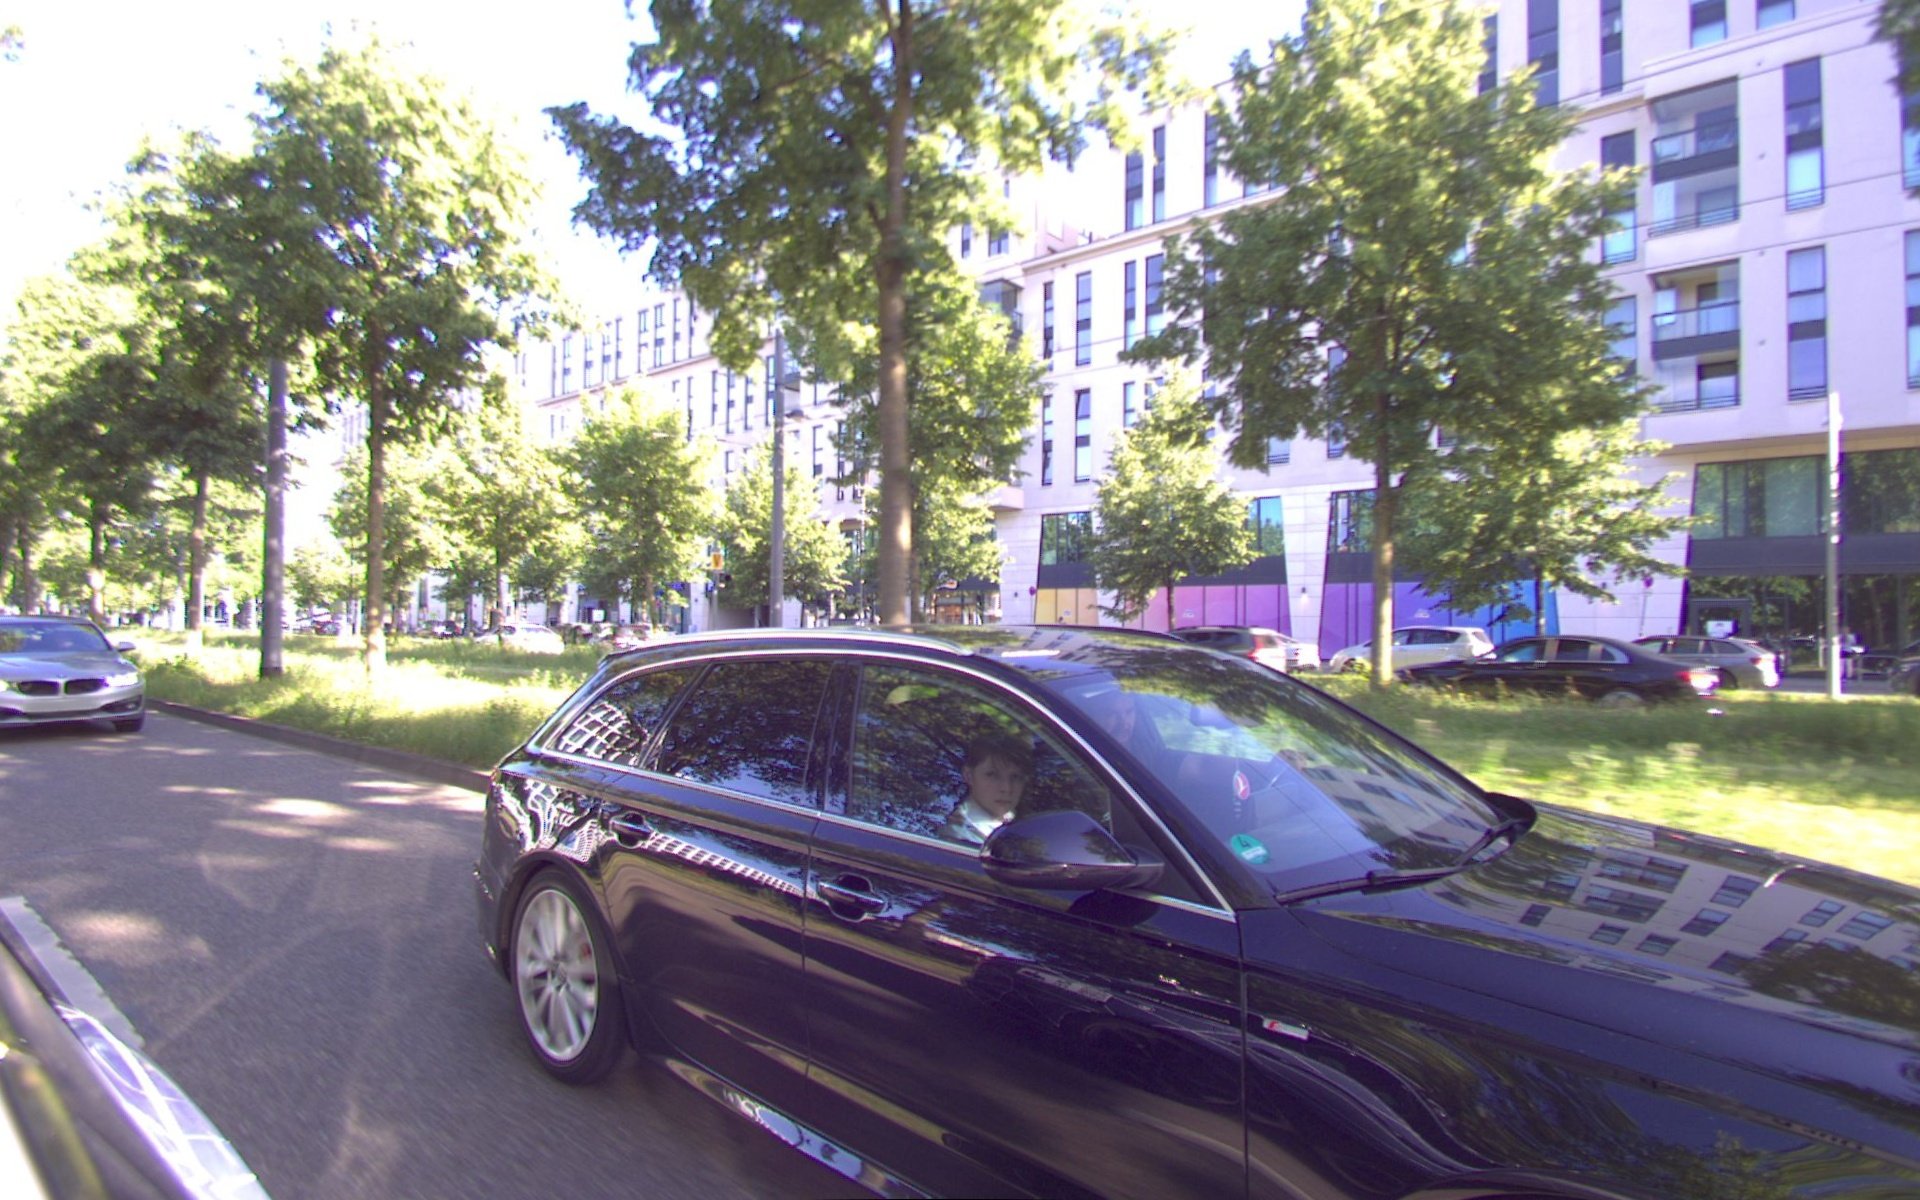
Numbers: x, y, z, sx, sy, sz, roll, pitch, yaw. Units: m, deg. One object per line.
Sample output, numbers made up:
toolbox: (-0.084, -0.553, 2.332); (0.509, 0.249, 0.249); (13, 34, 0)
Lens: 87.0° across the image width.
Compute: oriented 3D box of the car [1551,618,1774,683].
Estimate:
car: (17.518, 1.195, 25.364); (4.450, 1.452, 1.974); (-1, 0, 39)

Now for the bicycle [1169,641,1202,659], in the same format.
bicycle: (9.994, 2.196, 44.915); (1.516, 0.737, 0.274); (-1, 0, 43)

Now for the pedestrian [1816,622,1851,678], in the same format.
pedestrian: (26.480, 1.506, 30.696); (0.718, 1.663, 0.630); (-1, 0, 33)

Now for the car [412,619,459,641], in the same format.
car: (-37.784, 2.148, 72.871); (4.268, 1.491, 1.542); (-1, -1, 40)

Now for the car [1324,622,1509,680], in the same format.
car: (12.979, 1.404, 28.926); (4.453, 1.452, 1.973); (-1, 0, 41)

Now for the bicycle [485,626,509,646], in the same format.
bicycle: (-37.324, 2.885, 81.553); (3.034, 1.557, 0.611); (-1, 0, 43)

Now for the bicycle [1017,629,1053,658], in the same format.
bicycle: (3.465, 2.003, 46.816); (1.606, 1.290, 0.592); (-1, 0, 39)

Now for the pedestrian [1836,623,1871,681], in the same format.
pedestrian: (26.295, 1.507, 29.795); (0.719, 1.663, 0.629); (-1, 0, 38)

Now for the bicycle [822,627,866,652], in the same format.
bicycle: (-6.332, 2.127, 55.037); (0.935, 1.290, 2.775); (0, 0, -42)

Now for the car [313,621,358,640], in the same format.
car: (-53.225, 2.588, 86.273); (3.994, 1.584, 1.975); (-1, -2, 38)

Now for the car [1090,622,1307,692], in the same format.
car: (5.633, 1.283, 24.276); (4.699, 1.452, 1.973); (-1, 0, 40)

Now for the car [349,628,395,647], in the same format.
car: (-47.192, 3.005, 81.223); (4.331, 1.424, 1.707); (-1, -2, 38)

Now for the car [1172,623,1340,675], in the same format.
car: (9.361, 1.502, 32.201); (4.773, 1.452, 1.974); (-1, 0, 39)

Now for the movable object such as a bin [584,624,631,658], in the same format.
movable object such as a bin: (-19.863, 2.291, 57.058); (1.554, 1.808, 1.951); (-1, 0, 39)

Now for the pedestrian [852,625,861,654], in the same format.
pedestrian: (-5.744, 2.173, 56.108); (0.494, 1.561, 0.522); (0, 0, -7)

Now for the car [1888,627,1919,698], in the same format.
car: (22.708, 1.341, 20.985); (4.931, 1.452, 1.974); (-1, 0, 39)

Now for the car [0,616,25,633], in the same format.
car: (-133.265, 3.422, 141.646); (6.017, 2.399, 2.483); (-1, -2, 36)

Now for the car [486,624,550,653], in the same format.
car: (-28.508, 2.435, 65.203); (4.333, 1.742, 1.974); (-1, 0, 39)

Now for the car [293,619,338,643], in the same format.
car: (-57.142, 2.753, 89.662); (4.548, 2.029, 1.974); (-1, -2, 38)

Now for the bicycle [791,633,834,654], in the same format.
bicycle: (-8.261, 2.427, 56.698); (2.368, 1.145, 0.860); (-1, 0, 31)

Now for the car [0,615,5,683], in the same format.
car: (-23.750, 1.120, 23.595); (4.000, 1.534, 1.925); (-1, 0, 43)

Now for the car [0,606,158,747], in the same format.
car: (-12.196, 0.883, 13.310); (4.276, 1.590, 1.862); (-1, 0, 41)

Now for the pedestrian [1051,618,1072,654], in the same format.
pedestrian: (4.745, 1.691, 47.366); (0.719, 1.663, 0.629); (-1, 0, 38)

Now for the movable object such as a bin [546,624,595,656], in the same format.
movable object such as a bin: (-22.876, 2.316, 59.467); (2.008, 1.808, 1.951); (-1, 0, 38)

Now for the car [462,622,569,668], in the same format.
car: (-18.034, 1.760, 40.949); (5.107, 1.698, 1.973); (-1, 0, 41)

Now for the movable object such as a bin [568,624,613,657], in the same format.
movable object such as a bin: (-21.244, 2.302, 58.214); (1.554, 1.808, 1.951); (-1, 0, 39)

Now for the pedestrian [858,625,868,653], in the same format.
pedestrian: (-5.427, 2.170, 56.667); (0.494, 1.561, 0.522); (0, 0, -7)

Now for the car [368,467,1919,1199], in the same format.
car: (0.422, 0.669, 2.835); (5.079, 1.492, 1.933); (-2, -3, 39)

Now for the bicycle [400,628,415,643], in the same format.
bicycle: (-51.247, 3.321, 93.828); (0.654, 1.335, 2.338); (0, 0, -43)

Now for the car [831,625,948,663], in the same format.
car: (-3.034, 1.840, 43.046); (4.919, 1.452, 1.974); (-1, 0, 39)

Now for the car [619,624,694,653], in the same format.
car: (-16.443, 2.040, 54.760); (4.015, 1.452, 1.974); (-1, 0, 39)

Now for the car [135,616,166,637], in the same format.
car: (-82.668, 2.722, 103.293); (4.001, 2.029, 1.971); (-1, 0, 44)

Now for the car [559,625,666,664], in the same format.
car: (-14.418, 1.796, 41.848); (5.109, 1.452, 1.972); (-1, 0, 42)
